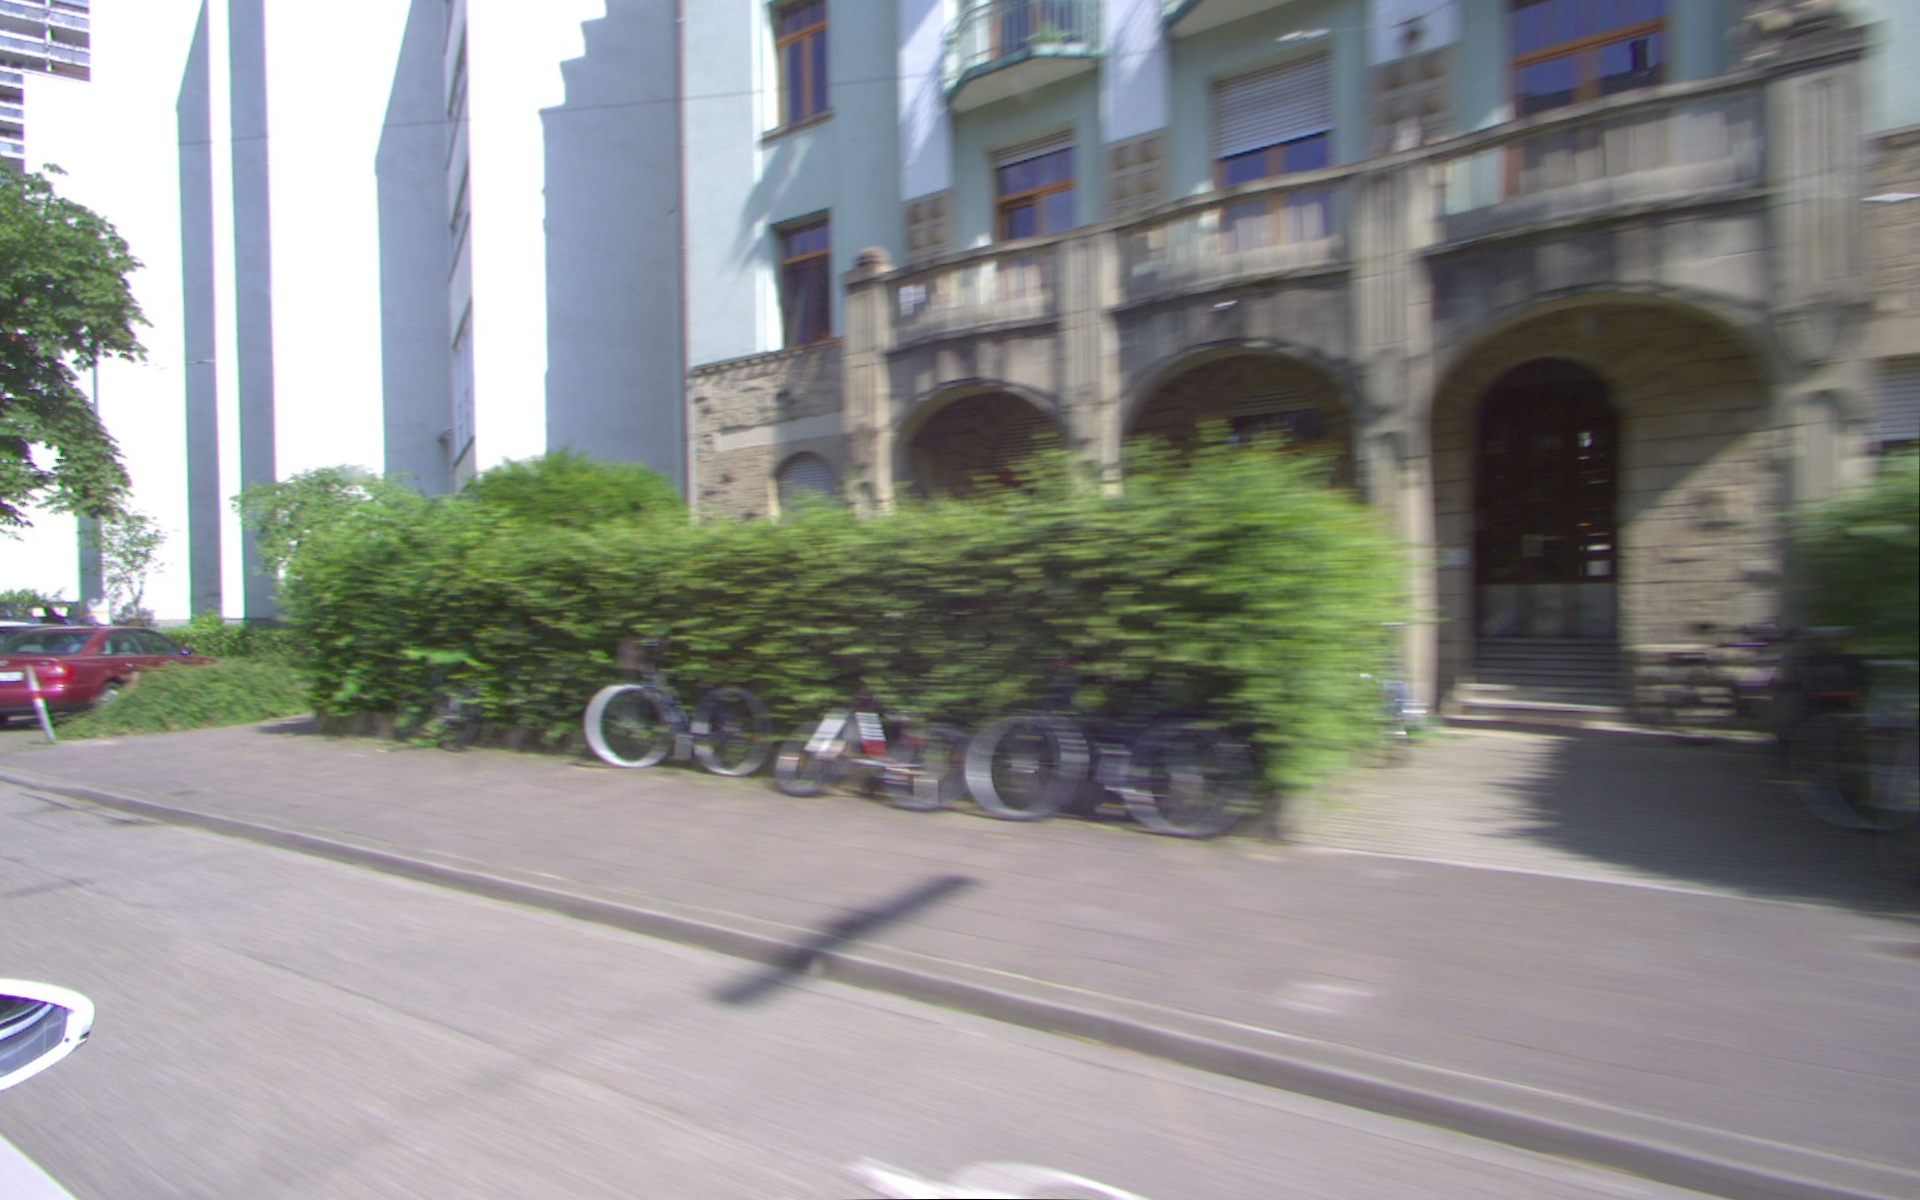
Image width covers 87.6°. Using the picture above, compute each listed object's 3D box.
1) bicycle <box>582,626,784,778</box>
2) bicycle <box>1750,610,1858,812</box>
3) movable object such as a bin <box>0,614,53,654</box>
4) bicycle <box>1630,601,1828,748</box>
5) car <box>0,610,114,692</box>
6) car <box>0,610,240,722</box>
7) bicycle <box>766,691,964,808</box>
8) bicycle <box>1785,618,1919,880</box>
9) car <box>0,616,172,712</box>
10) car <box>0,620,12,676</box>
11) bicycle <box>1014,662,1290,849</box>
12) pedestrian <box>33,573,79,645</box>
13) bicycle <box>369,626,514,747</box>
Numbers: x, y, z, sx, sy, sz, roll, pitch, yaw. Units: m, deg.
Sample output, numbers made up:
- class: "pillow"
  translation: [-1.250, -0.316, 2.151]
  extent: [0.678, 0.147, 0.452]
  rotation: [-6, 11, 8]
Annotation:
- class: "bicycle"
  translation: [-2.295, 0.779, 8.147]
  extent: [1.982, 1.124, 0.278]
  rotation: [-1, 4, 33]
- class: "bicycle"
  translation: [5.572, 0.669, 6.661]
  extent: [0.351, 1.130, 1.504]
  rotation: [0, 2, 33]
- class: "movable object such as a bin"
  translation: [-31.822, 1.139, 33.958]
  extent: [1.307, 1.335, 1.272]
  rotation: [-1, -1, 33]
- class: "bicycle"
  translation: [6.302, 0.590, 8.221]
  extent: [1.485, 1.130, 0.356]
  rotation: [-1, 2, -9]
- class: "car"
  translation: [-18.386, 0.937, 19.296]
  extent: [1.507, 1.480, 3.996]
  rotation: [0, -1, -13]
- class: "car"
  translation: [-13.215, 0.911, 15.366]
  extent: [1.831, 1.442, 4.157]
  rotation: [-1, 0, -10]
- class: "bicycle"
  translation: [-0.705, 1.034, 7.137]
  extent: [1.537, 0.686, 0.278]
  rotation: [-1, 3, 33]
- class: "bicycle"
  translation: [4.775, 0.710, 5.345]
  extent: [0.351, 1.130, 1.505]
  rotation: [0, 3, 31]
- class: "car"
  translation: [-15.725, 1.016, 17.252]
  extent: [1.667, 1.467, 3.998]
  rotation: [0, -1, -10]
- class: "car"
  translation: [-24.081, 1.124, 22.675]
  extent: [1.870, 1.366, 4.173]
  rotation: [1, -2, -12]
- class: "bicycle"
  translation: [1.114, 0.892, 6.043]
  extent: [1.644, 0.920, 0.273]
  rotation: [1, 5, 33]
- class: "pedestrian"
  translation: [-24.633, 0.244, 27.284]
  extent: [0.990, 1.898, 0.758]
  rotation: [0, 0, 38]
- class: "bicycle"
  translation: [-5.216, 0.827, 10.016]
  extent: [1.982, 1.124, 0.278]
  rotation: [-1, 4, 33]
